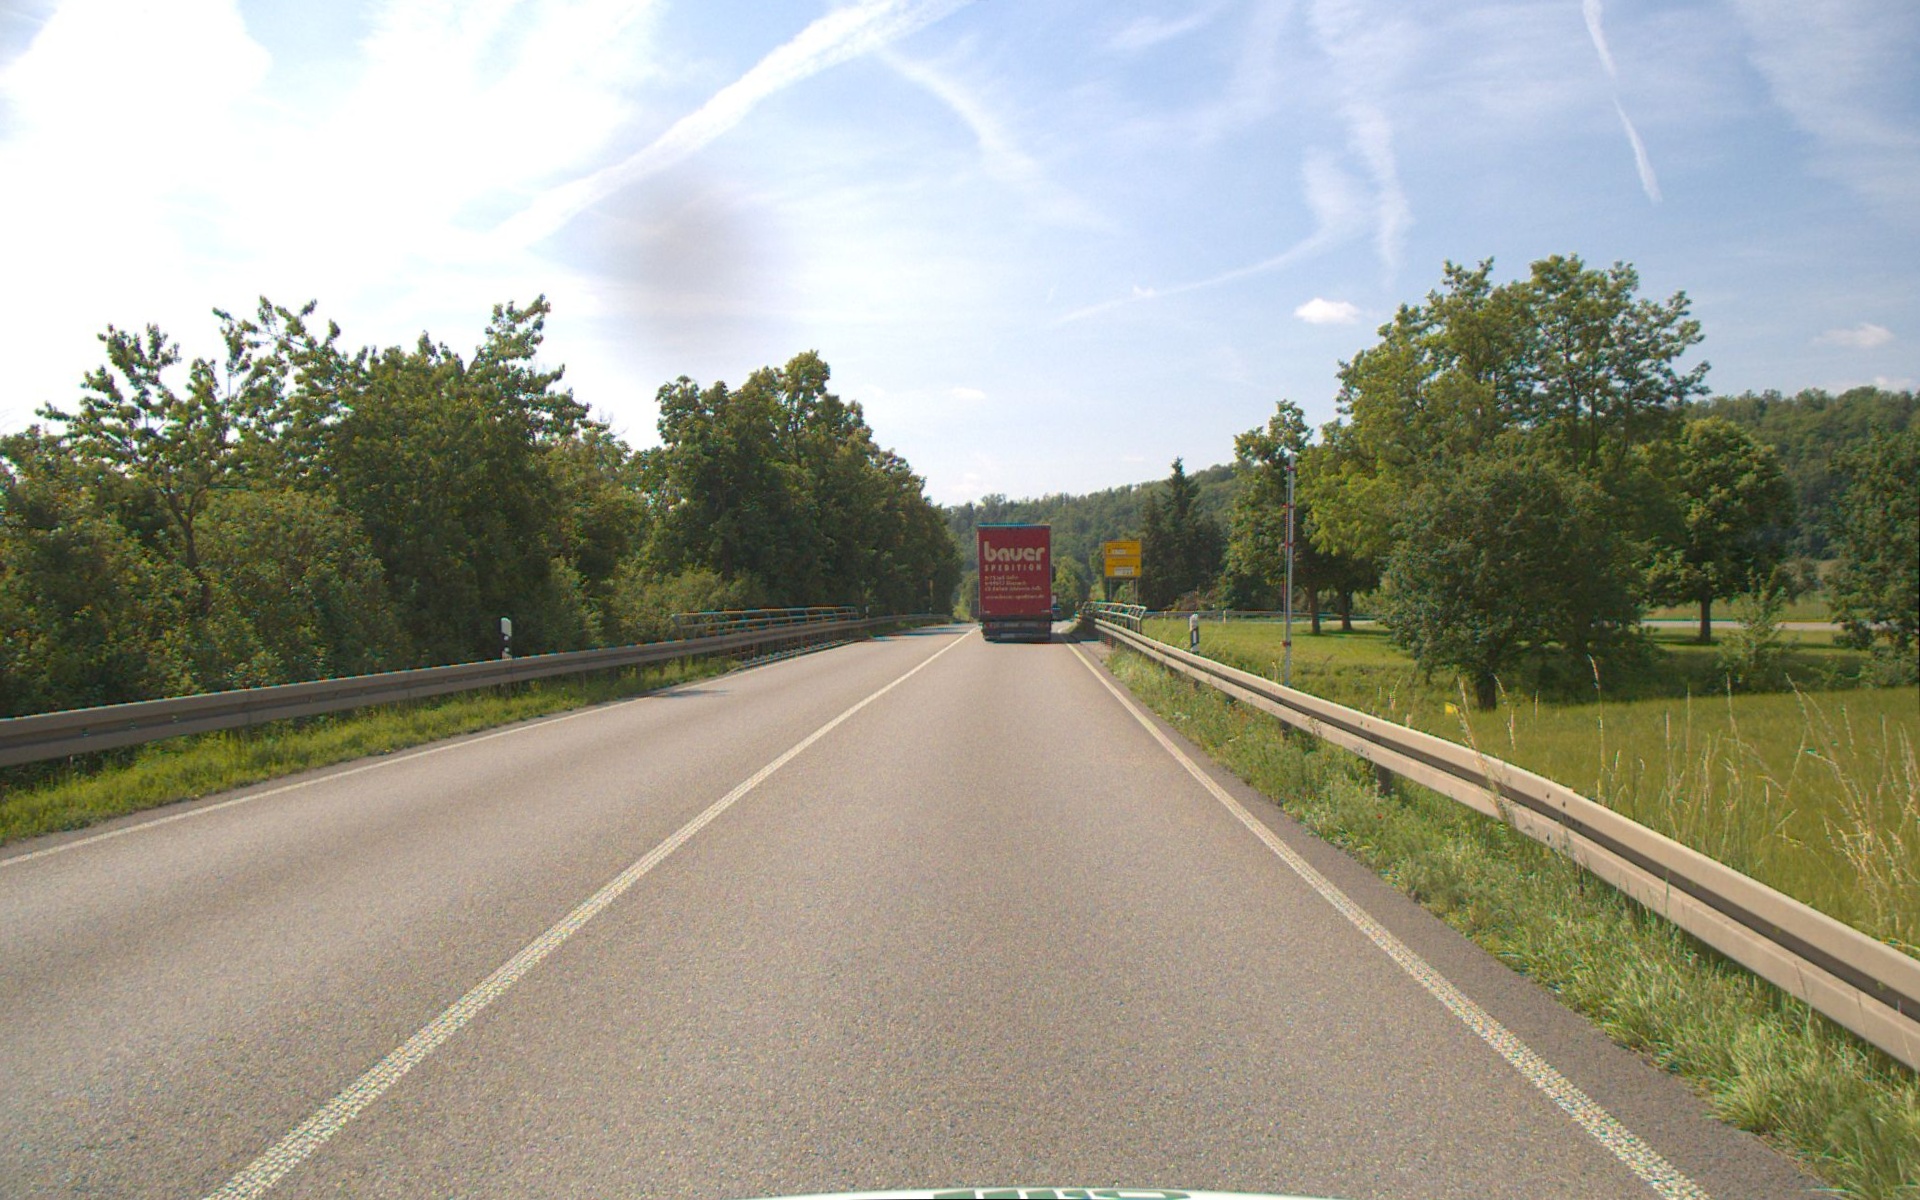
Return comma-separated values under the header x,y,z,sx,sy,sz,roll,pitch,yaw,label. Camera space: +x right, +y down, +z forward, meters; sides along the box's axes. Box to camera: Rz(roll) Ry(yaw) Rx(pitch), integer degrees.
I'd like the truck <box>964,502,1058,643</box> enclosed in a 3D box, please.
x,y,z,sx,sy,sz,roll,pitch,yaw,label
2.116,-0.941,62.879,3.106,4.706,13.549,-1,0,3,truck

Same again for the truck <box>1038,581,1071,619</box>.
x,y,z,sx,sy,sz,roll,pitch,yaw,label
11.964,0.087,208.698,3.823,4.446,13.297,2,-1,4,truck

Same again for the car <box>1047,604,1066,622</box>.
x,y,z,sx,sy,sz,roll,pitch,yaw,label
10.350,1.412,177.457,1.952,1.842,4.000,2,-1,2,car
